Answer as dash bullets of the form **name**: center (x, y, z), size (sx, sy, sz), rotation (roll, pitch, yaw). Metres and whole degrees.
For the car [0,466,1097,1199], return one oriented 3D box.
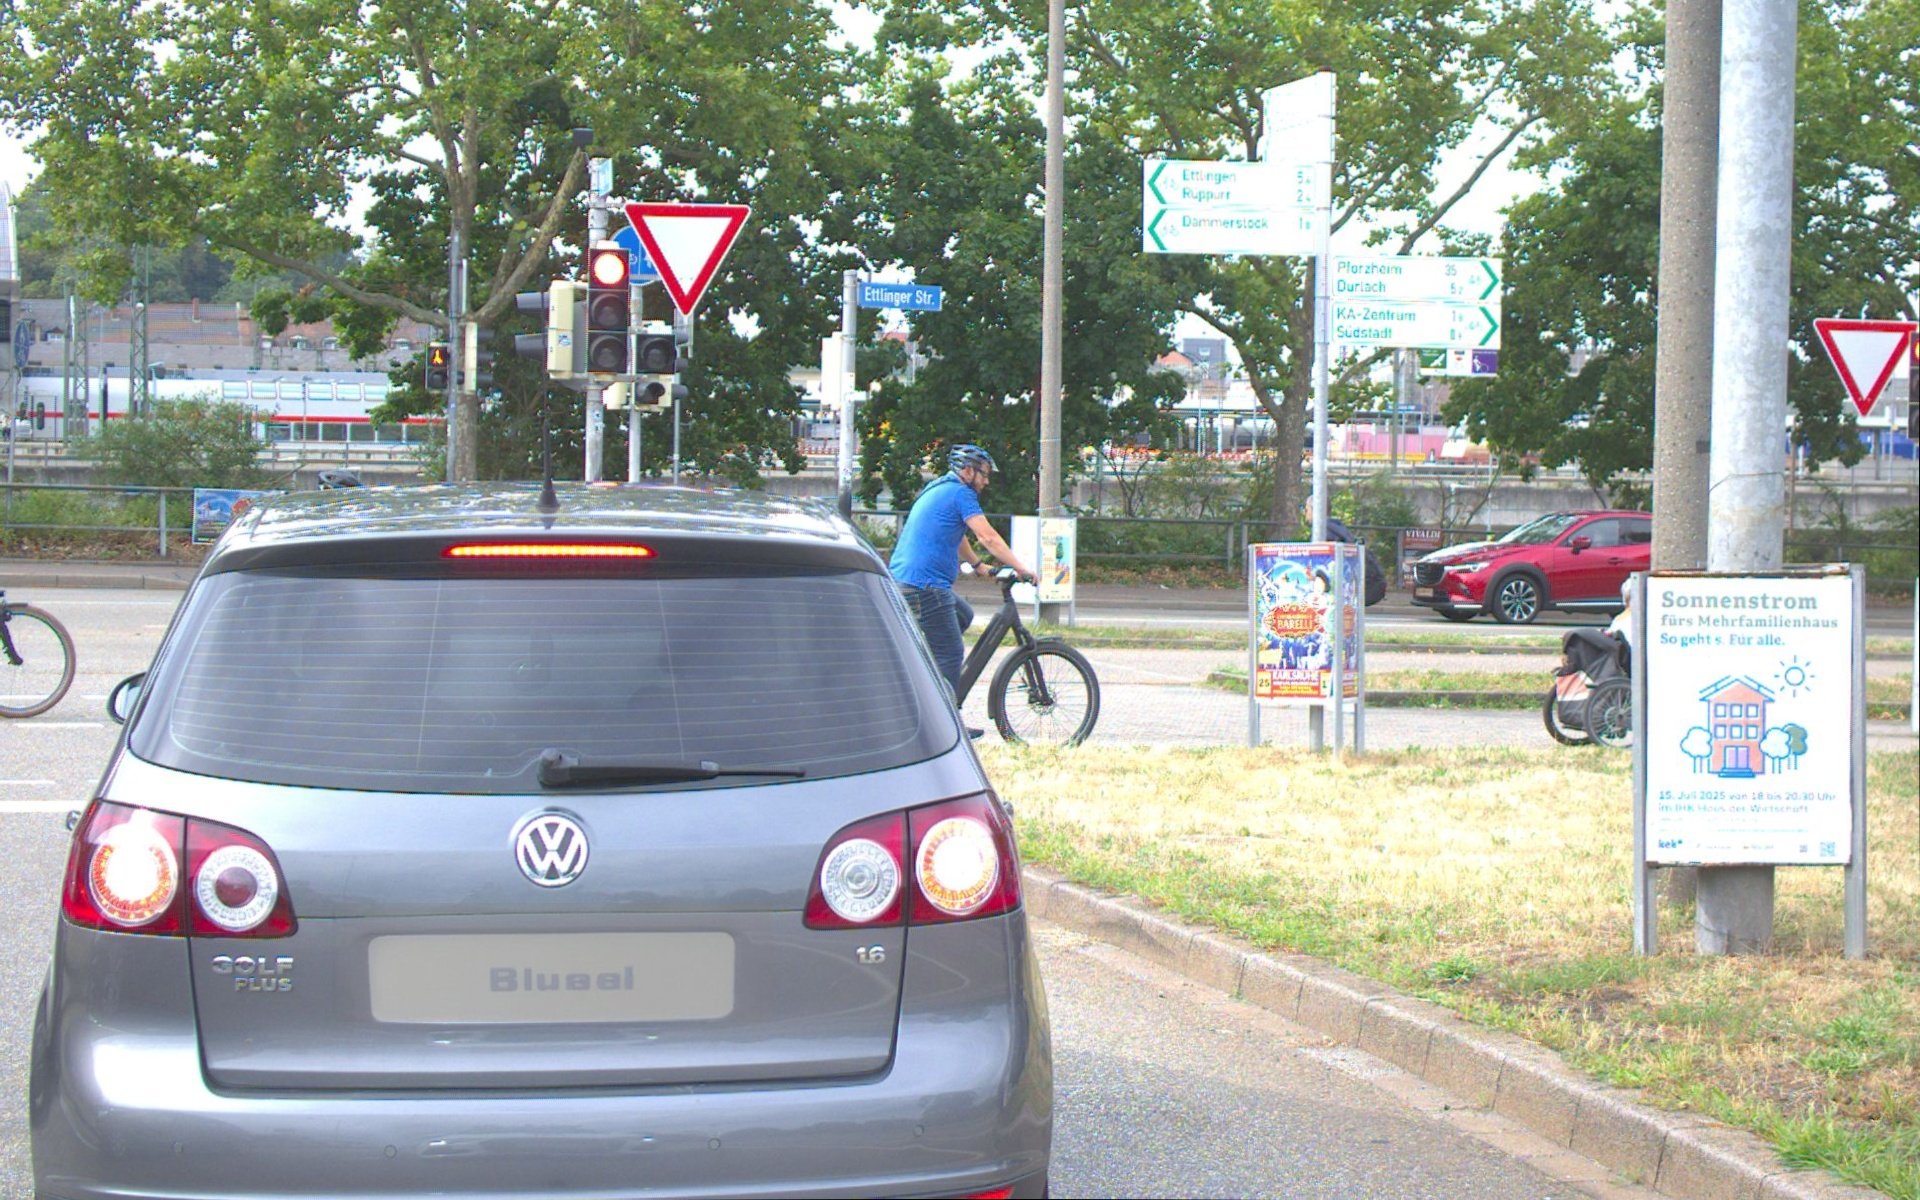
- **car**: center (-0.954, 0.528, 7.238), size (1.740, 1.541, 4.083), rotation (1, 1, -8)

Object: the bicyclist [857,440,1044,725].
- **bicyclist**: center (-0.065, -0.111, 20.447), size (0.880, 1.650, 0.812), rotation (0, 2, -19)

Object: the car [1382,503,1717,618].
- **car**: center (7.666, -0.522, 44.764), size (3.950, 1.443, 1.703), rotation (0, 2, -20)

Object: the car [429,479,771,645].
- **car**: center (-3.209, -0.343, 30.519), size (2.710, 1.417, 1.500), rotation (0, 2, -21)

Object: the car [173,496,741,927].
- **car**: center (-2.185, 0.335, 13.954), size (1.740, 1.477, 4.083), rotation (0, 1, -16)

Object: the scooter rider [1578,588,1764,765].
- **scooter rider**: center (4.765, 0.503, 23.075), size (0.913, 1.133, 0.809), rotation (0, 2, -18)

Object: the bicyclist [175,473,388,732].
- **bicyclist**: center (-3.878, 0.002, 19.615), size (1.113, 1.431, 0.648), rotation (0, 2, -19)

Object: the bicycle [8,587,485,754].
- **bicycle**: center (-4.058, 0.391, 19.572), size (2.583, 0.887, 0.705), rotation (0, 2, -19)

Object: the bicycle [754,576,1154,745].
- **bicycle**: center (-0.039, 0.348, 20.464), size (2.227, 0.949, 0.812), rotation (0, 2, -19)

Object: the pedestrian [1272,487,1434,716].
- **pedestrian**: center (3.050, -0.005, 26.614), size (1.048, 1.704, 0.853), rotation (2, 2, 17)

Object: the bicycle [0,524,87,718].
- **bicycle**: center (-6.511, 0.124, 21.639), size (1.900, 1.206, 0.643), rotation (0, 2, -20)

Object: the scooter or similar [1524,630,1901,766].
- **scooter or similar**: center (5.070, 0.646, 23.169), size (2.378, 0.846, 0.809), rotation (0, 2, -18)
